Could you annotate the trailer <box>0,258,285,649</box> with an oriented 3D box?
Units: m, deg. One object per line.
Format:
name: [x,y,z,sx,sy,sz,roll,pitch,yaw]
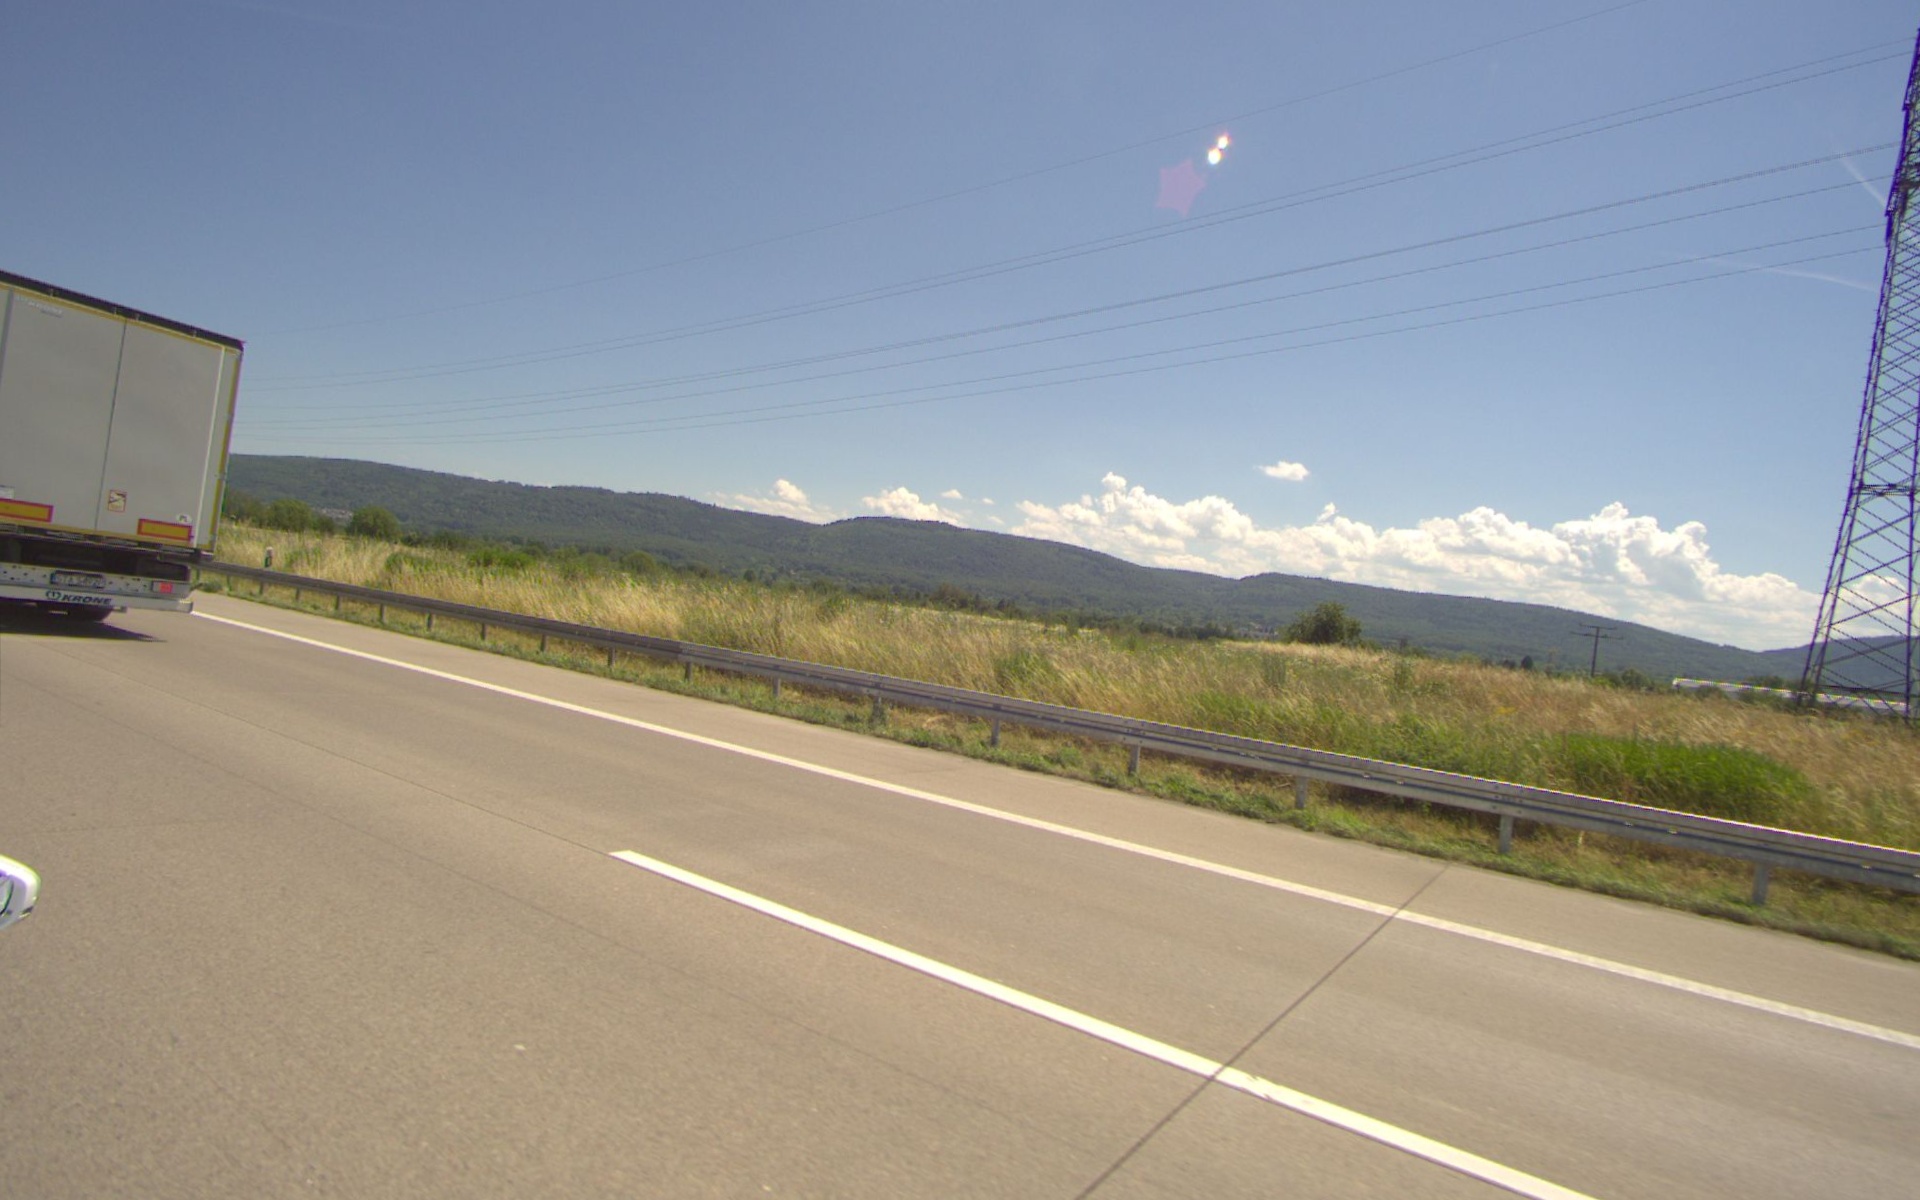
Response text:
trailer: [-15.951,-2.228,15.833,13.972,4.107,3.024,7,-2,32]
